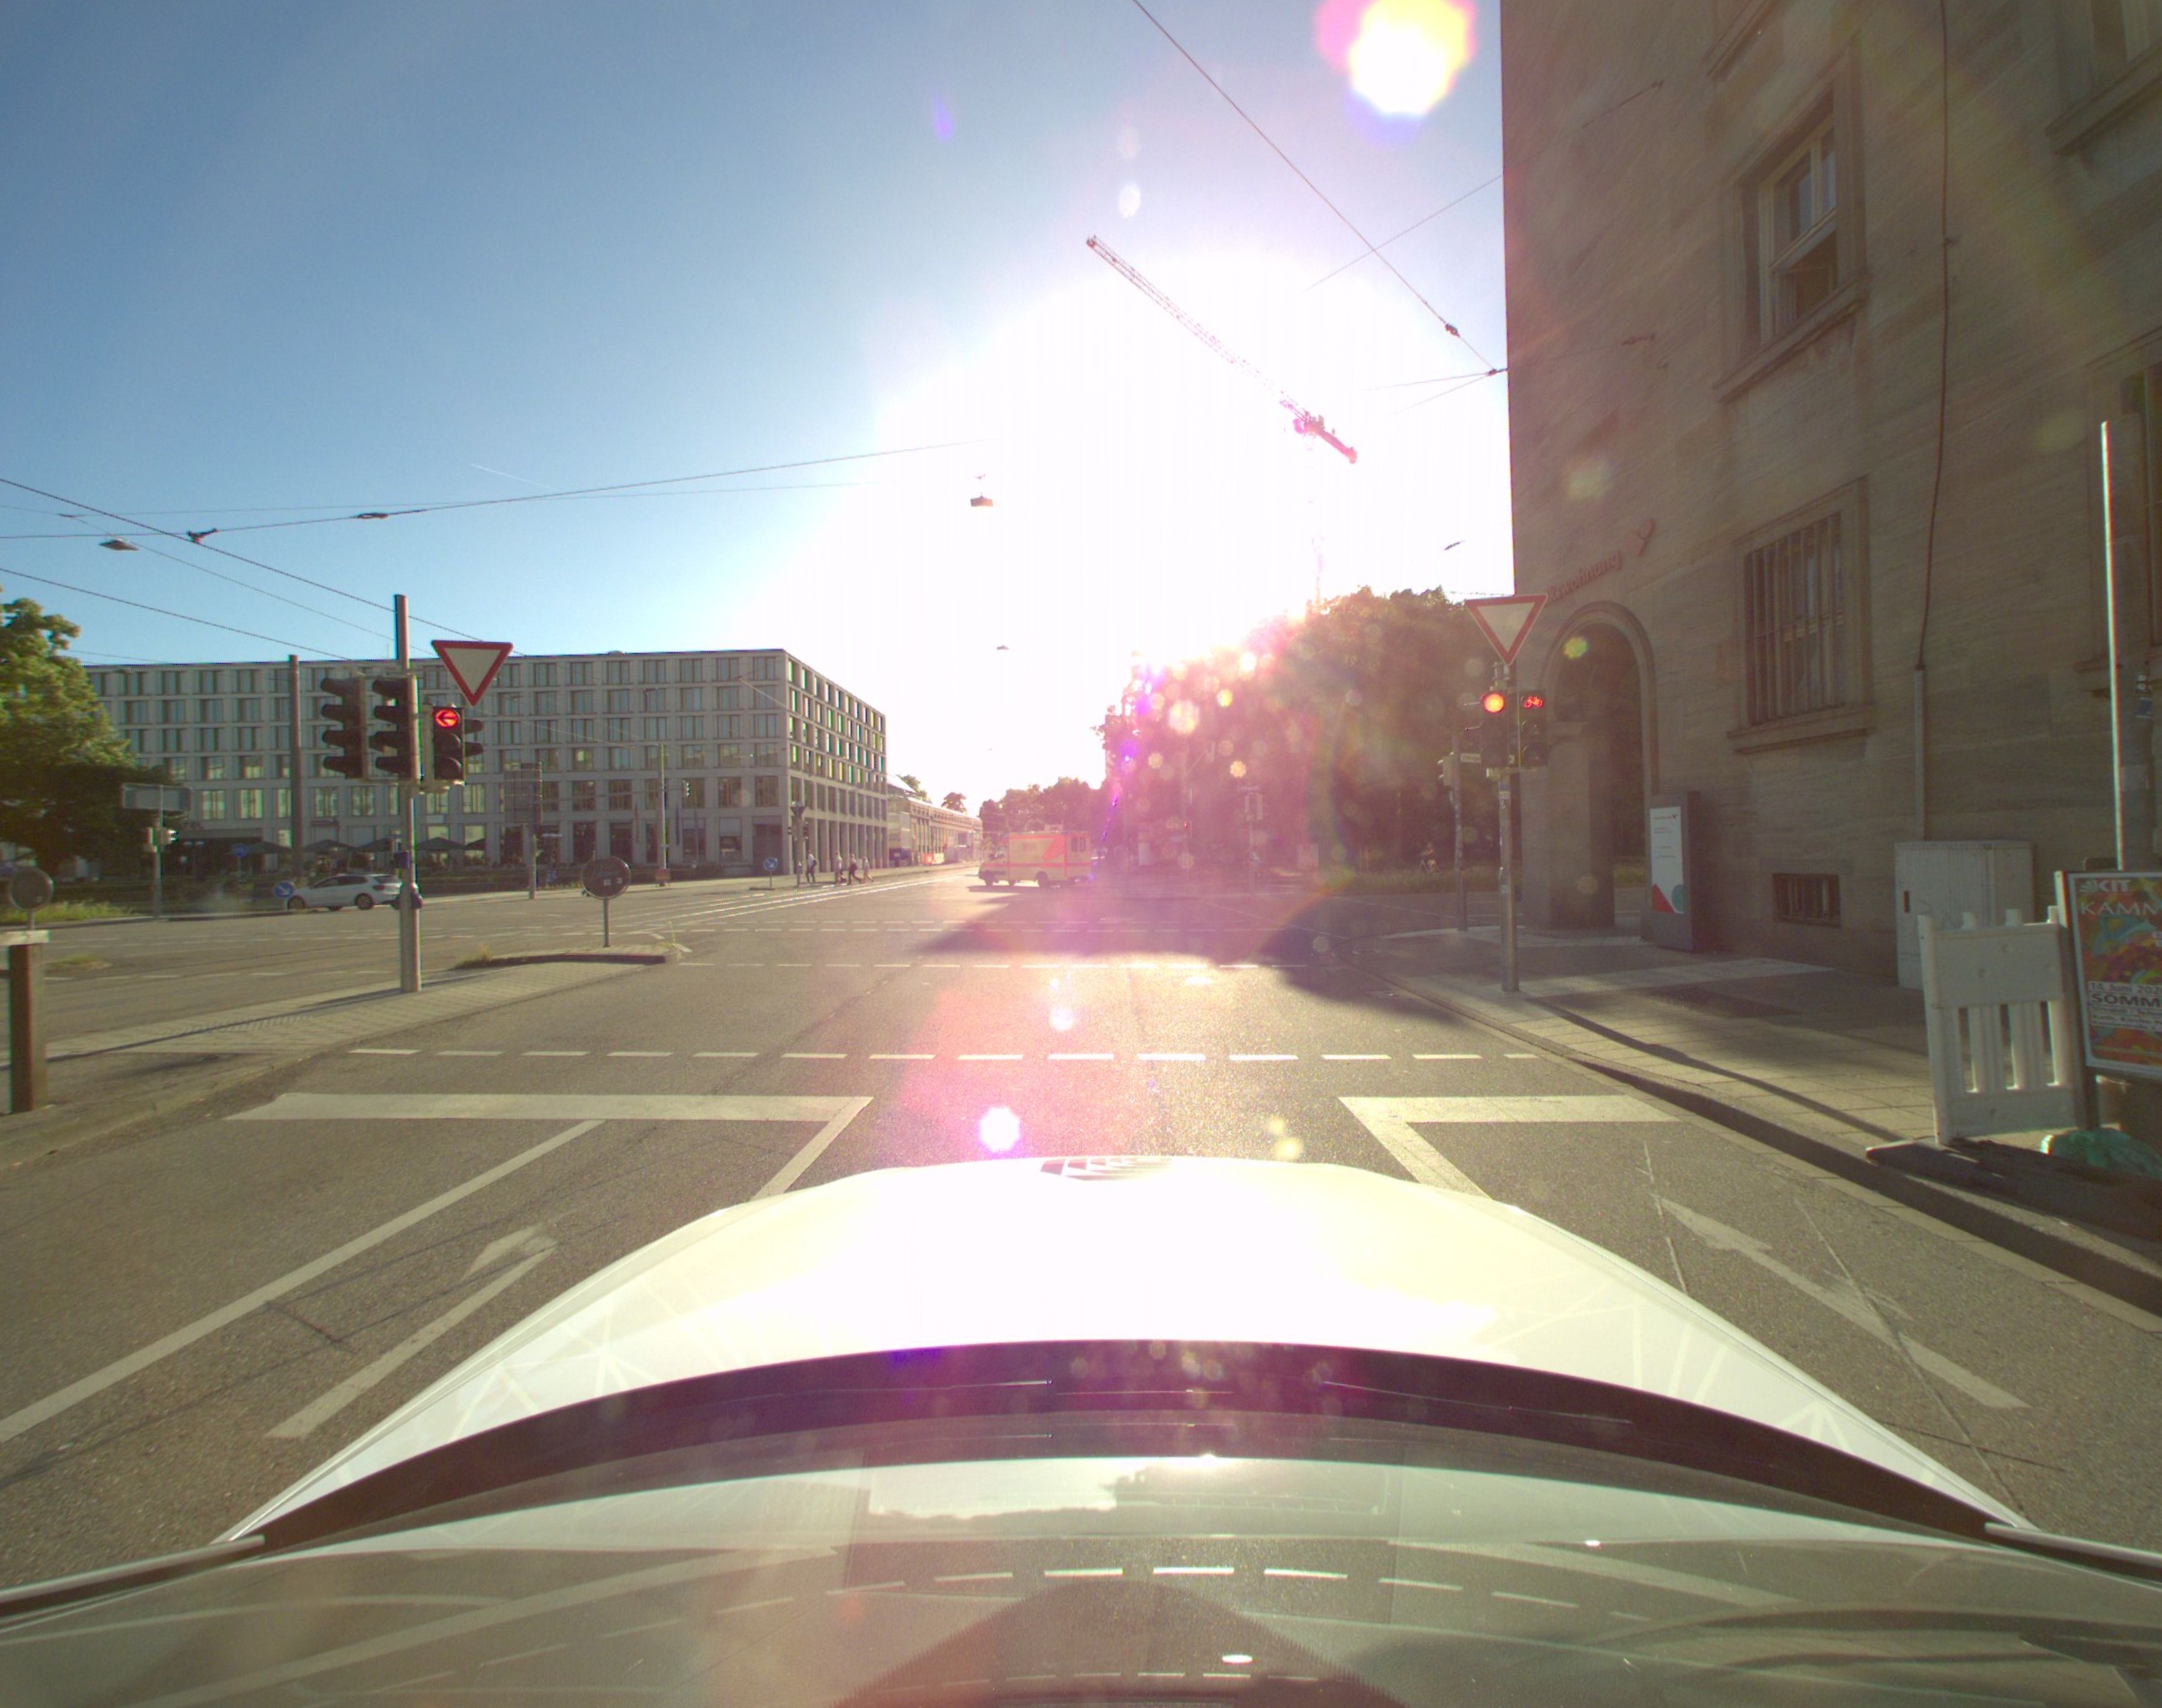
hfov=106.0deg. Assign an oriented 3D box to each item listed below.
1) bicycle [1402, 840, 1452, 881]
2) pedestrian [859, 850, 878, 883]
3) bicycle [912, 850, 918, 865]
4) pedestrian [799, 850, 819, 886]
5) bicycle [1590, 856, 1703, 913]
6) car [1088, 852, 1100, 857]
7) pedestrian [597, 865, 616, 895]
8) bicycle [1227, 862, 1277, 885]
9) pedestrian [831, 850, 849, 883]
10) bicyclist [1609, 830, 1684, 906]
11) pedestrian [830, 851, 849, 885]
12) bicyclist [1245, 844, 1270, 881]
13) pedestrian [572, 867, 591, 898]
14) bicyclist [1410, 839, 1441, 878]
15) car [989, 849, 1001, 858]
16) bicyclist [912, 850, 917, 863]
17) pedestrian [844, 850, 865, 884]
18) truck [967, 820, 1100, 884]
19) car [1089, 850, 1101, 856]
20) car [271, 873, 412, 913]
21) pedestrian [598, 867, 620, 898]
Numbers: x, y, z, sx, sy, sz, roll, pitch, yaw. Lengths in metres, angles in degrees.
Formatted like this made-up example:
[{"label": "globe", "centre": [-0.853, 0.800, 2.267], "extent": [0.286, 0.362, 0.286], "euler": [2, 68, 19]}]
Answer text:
[{"label": "bicycle", "centre": [15.094, 0.286, 35.546], "extent": [1.888, 1.735, 0.598], "euler": [-2, 0, 5]}, {"label": "pedestrian", "centre": [-11.873, 0.689, 45.466], "extent": [0.865, 1.803, 0.533], "euler": [-2, 0, 7]}, {"label": "bicycle", "centre": [-26.742, 0.548, 131.163], "extent": [0.569, 2.296, 1.422], "euler": [-2, 0, 0]}, {"label": "pedestrian", "centre": [-14.694, 0.744, 44.049], "extent": [0.797, 1.918, 0.638], "euler": [-2, 0, 7]}, {"label": "bicycle", "centre": [12.252, 0.661, 17.696], "extent": [1.862, 1.158, 0.768], "euler": [-1, 2, 8]}, {"label": "car", "centre": [3.409, 0.090, 211.371], "extent": [3.205, 1.263, 1.374], "euler": [0, -1, 2]}, {"label": "pedestrian", "centre": [-26.401, 1.454, 45.313], "extent": [0.692, 1.644, 0.621], "euler": [-2, 0, -3]}, {"label": "bicycle", "centre": [7.498, 0.859, 35.789], "extent": [2.057, 0.933, 0.575], "euler": [-2, 0, 1]}, {"label": "pedestrian", "centre": [-13.579, 0.702, 45.898], "extent": [0.735, 1.803, 0.533], "euler": [-2, 0, 7]}, {"label": "bicyclist", "centre": [12.261, 0.290, 17.692], "extent": [1.117, 1.594, 0.768], "euler": [-1, 2, 8]}, {"label": "pedestrian", "centre": [-13.331, 0.759, 44.909], "extent": [0.735, 1.803, 0.717], "euler": [-2, 0, 7]}, {"label": "bicyclist", "centre": [7.751, 0.369, 35.804], "extent": [0.971, 1.560, 0.575], "euler": [-2, 0, 1]}, {"label": "pedestrian", "centre": [-27.379, 1.545, 44.629], "extent": [0.687, 1.644, 0.625], "euler": [-2, 0, 33]}, {"label": "bicyclist", "centre": [15.019, 0.199, 35.554], "extent": [1.069, 1.641, 0.598], "euler": [-2, 0, 5]}, {"label": "car", "centre": [-16.595, -0.120, 157.048], "extent": [1.888, 1.607, 4.499], "euler": [-2, 0, 0]}, {"label": "bicyclist", "centre": [-26.745, 0.446, 131.110], "extent": [0.569, 2.024, 0.762], "euler": [-2, 0, 0]}, {"label": "pedestrian", "centre": [-12.390, 0.721, 44.499], "extent": [0.865, 1.803, 0.665], "euler": [-2, 0, 7]}, {"label": "truck", "centre": [-2.460, -0.071, 41.334], "extent": [6.405, 3.016, 2.743], "euler": [-1, 0, 37]}, {"label": "car", "centre": [3.699, -0.169, 213.621], "extent": [3.207, 1.588, 1.445], "euler": [0, -1, -3]}, {"label": "car", "centre": [-29.359, 1.523, 32.413], "extent": [4.030, 1.434, 1.631], "euler": [-2, -2, -1]}, {"label": "pedestrian", "centre": [-25.683, 1.528, 44.343], "extent": [0.790, 1.644, 0.621], "euler": [-2, 0, -3]}]
